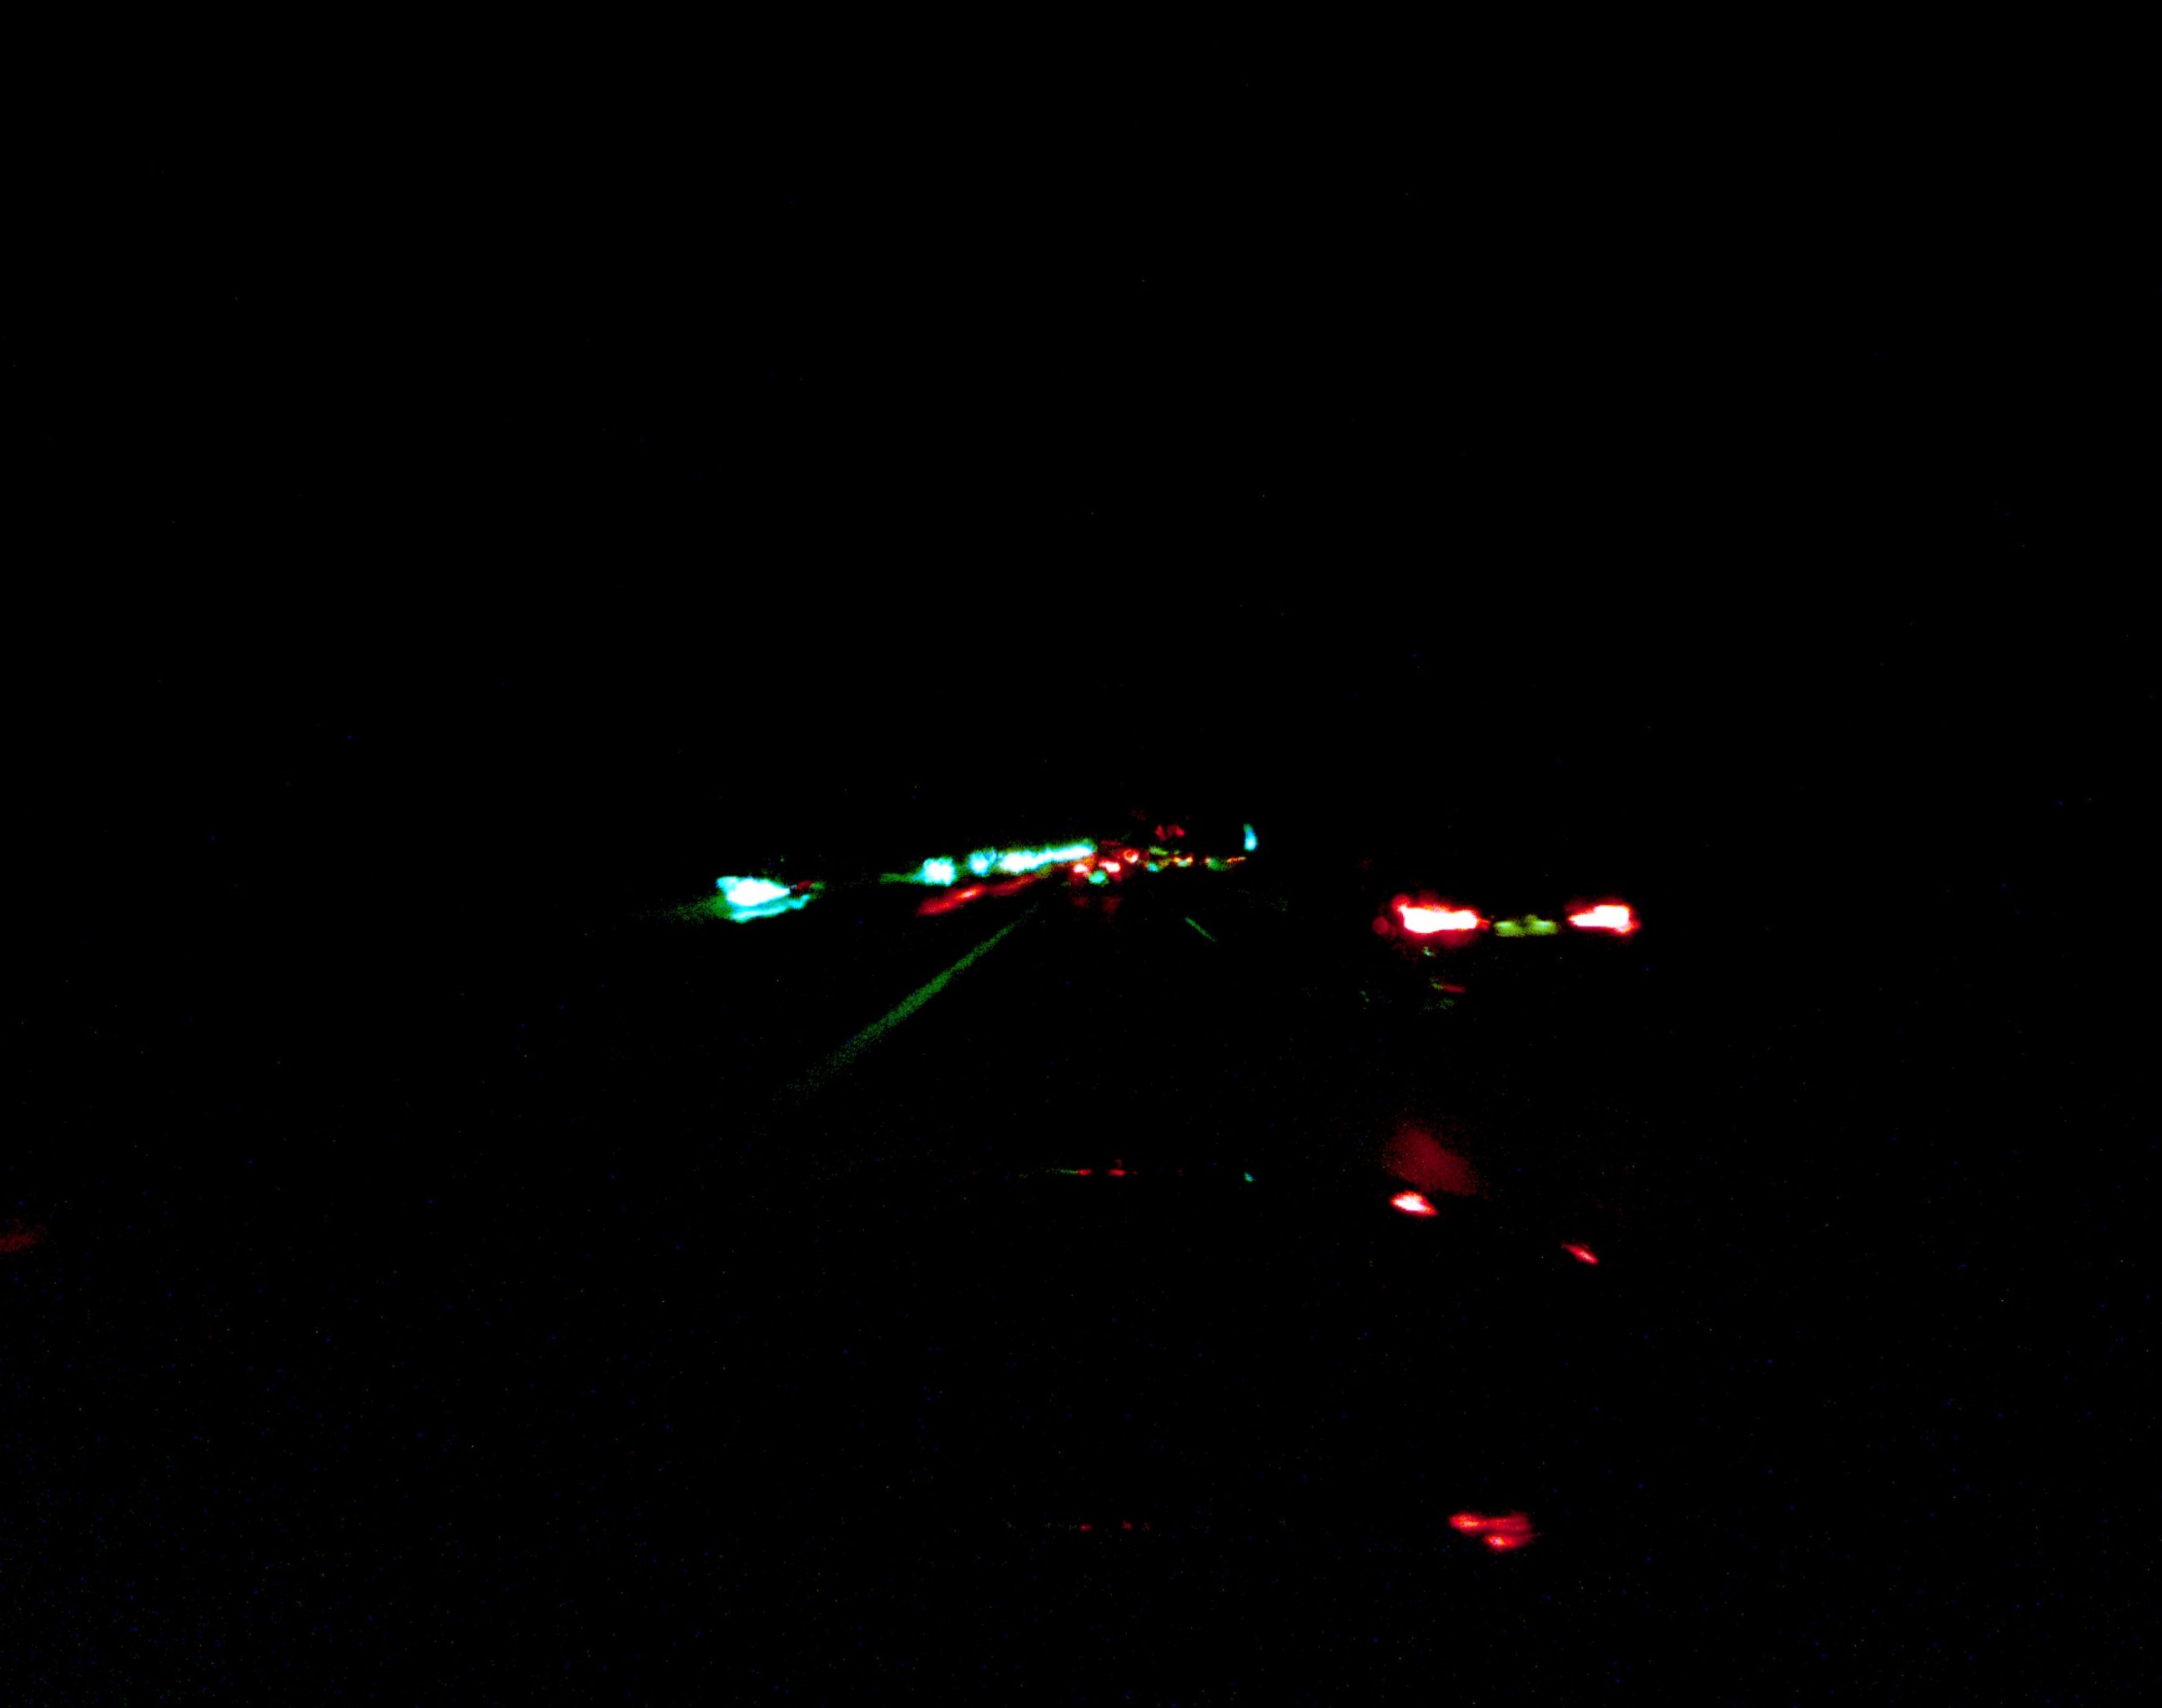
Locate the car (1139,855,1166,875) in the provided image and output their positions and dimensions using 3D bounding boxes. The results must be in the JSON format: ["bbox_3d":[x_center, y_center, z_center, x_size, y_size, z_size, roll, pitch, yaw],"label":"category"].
[{"bbox_3d":[5.183,0.759,59.486,1.607,1.412,3.792,-1,0,0],"label":"car"}]

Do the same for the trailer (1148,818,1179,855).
[{"bbox_3d":[10.141,-2.040,101.054,2.793,4.212,12.100,-1,0,1],"label":"trailer"}]

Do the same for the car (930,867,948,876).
[{"bbox_3d":[-18.204,2.207,104.498,1.632,1.102,4.046,0,0,0],"label":"car"}]

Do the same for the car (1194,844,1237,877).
[{"bbox_3d":[8.905,0.410,54.348,2.038,1.974,5.410,-3,0,2],"label":"car"}]

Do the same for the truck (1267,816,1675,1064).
[{"bbox_3d":[3.238,0.604,8.042,1.836,1.696,4.856,0,0,2],"label":"truck"}]

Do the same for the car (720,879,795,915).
[{"bbox_3d":[-15.479,2.000,39.222,1.777,1.422,4.352,-3,0,0],"label":"car"}]

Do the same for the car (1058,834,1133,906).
[{"bbox_3d":[0.548,0.582,33.613,2.701,2.534,5.830,-3,0,0],"label":"car"}]

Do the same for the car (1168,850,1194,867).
[{"bbox_3d":[9.325,0.407,76.363,1.888,1.486,4.962,-1,0,0],"label":"car"}]

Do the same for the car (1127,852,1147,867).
[{"bbox_3d":[6.026,0.561,87.809,1.877,1.588,4.001,-1,0,1],"label":"car"}]
